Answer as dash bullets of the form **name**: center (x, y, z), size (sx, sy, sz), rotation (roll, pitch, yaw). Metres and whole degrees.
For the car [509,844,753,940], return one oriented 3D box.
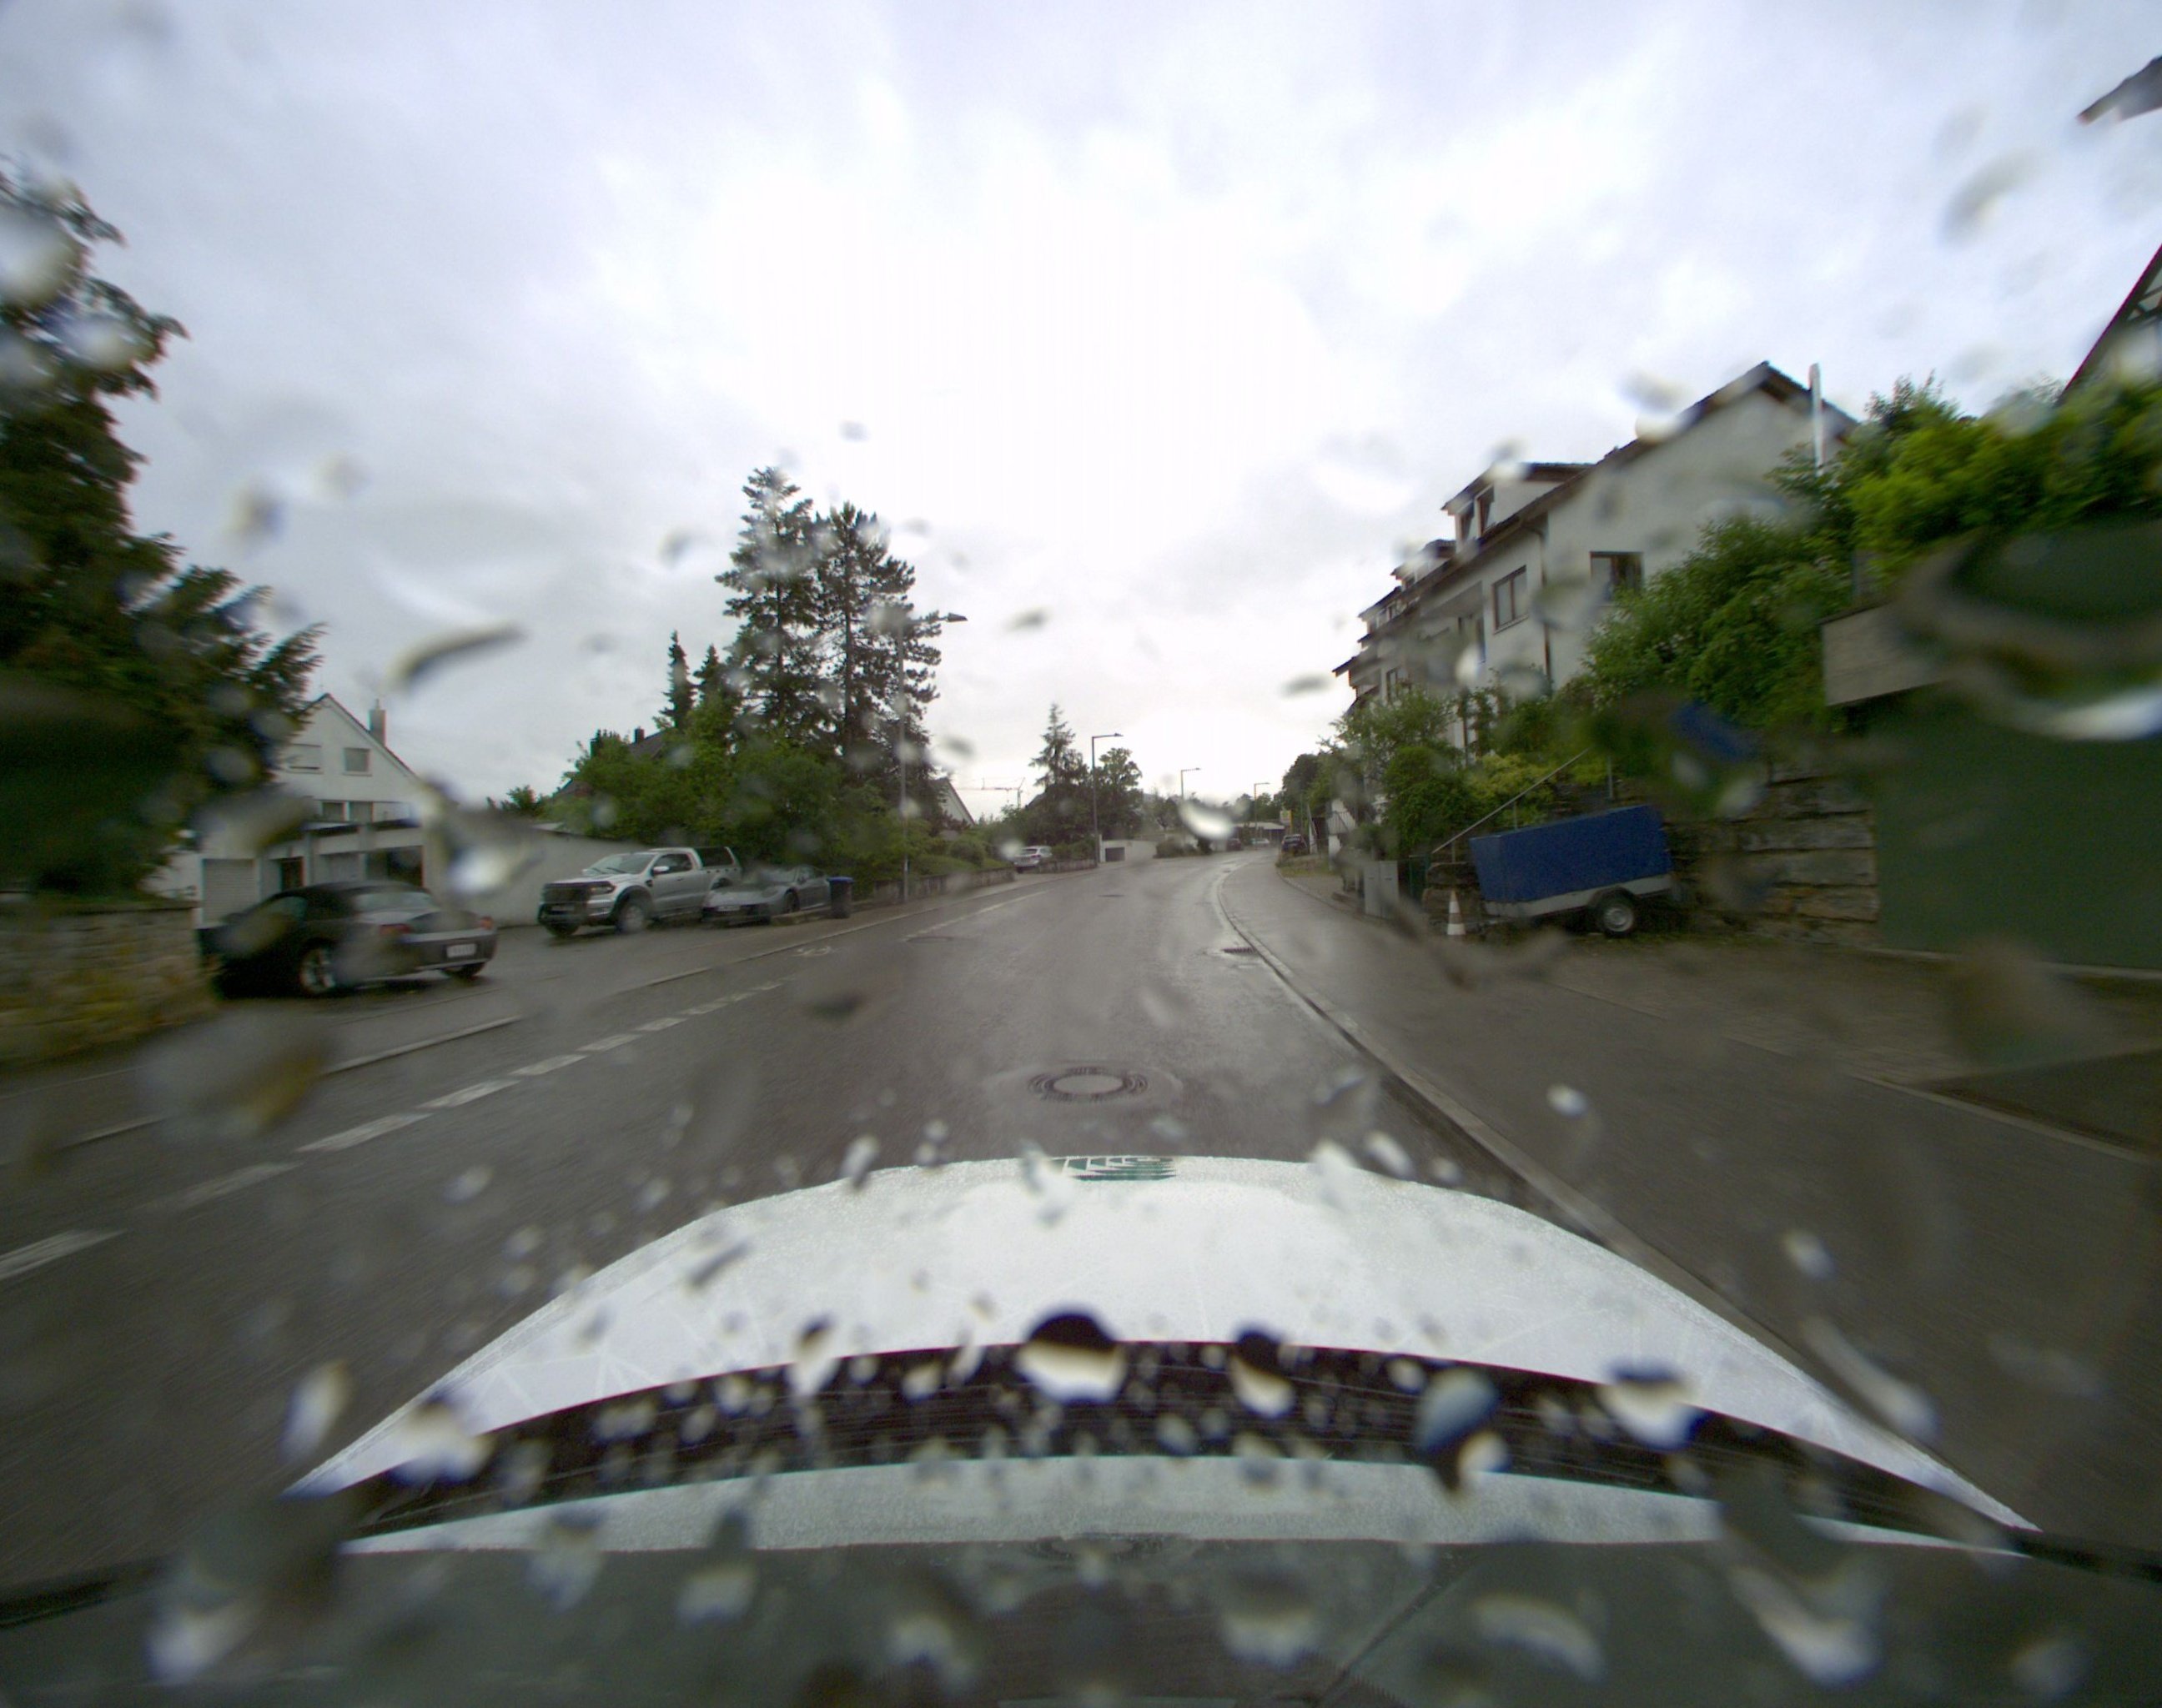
- **car**: center (-10.039, 0.735, 18.869), size (1.982, 1.843, 5.490), rotation (-2, 0, 8)

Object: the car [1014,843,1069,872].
- **car**: center (-2.263, 0.163, 47.603), size (1.720, 1.551, 4.020), rotation (-2, 0, 20)

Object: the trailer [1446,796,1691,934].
- **trailer**: center (6.876, 0.142, 11.749), size (2.343, 1.748, 2.002), rotation (-2, 0, 4)

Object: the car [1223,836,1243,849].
- **car**: center (18.274, -1.367, 98.004), size (1.819, 1.405, 4.280), rotation (-2, 1, 17)

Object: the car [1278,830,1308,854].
- **car**: center (14.710, -0.841, 56.294), size (1.691, 1.454, 4.039), rotation (-5, 0, 17)

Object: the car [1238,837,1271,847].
- **car**: center (25.344, -1.776, 118.994), size (4.523, 1.442, 1.754), rotation (-1, 1, -13)

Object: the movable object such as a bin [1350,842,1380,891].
- **movable object such as a bin**: center (6.260, 0.270, 17.971), size (0.489, 1.046, 0.578), rotation (-2, 0, 8)

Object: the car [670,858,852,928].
- **car**: center (-7.224, 0.814, 18.993), size (1.983, 1.307, 4.443), rotation (-3, 0, 7)

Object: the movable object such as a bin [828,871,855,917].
- **movable object such as a bin**: center (-5.433, 0.896, 18.496), size (0.368, 0.988, 0.559), rotation (-2, 0, 5)

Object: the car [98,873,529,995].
- **car**: center (-9.400, 0.949, 10.129), size (3.961, 1.271, 1.879), rotation (-2, 0, 11)

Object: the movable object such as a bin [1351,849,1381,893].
- **movable object such as a bin**: center (6.064, 0.357, 17.337), size (0.489, 0.922, 0.458), rotation (-2, 0, 7)

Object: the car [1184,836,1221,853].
- **car**: center (12.765, -0.997, 85.344), size (1.688, 1.553, 4.417), rotation (-1, 1, 40)

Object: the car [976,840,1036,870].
- **car**: center (-5.053, 0.110, 54.499), size (2.011, 1.837, 3.951), rotation (-3, 0, -42)
